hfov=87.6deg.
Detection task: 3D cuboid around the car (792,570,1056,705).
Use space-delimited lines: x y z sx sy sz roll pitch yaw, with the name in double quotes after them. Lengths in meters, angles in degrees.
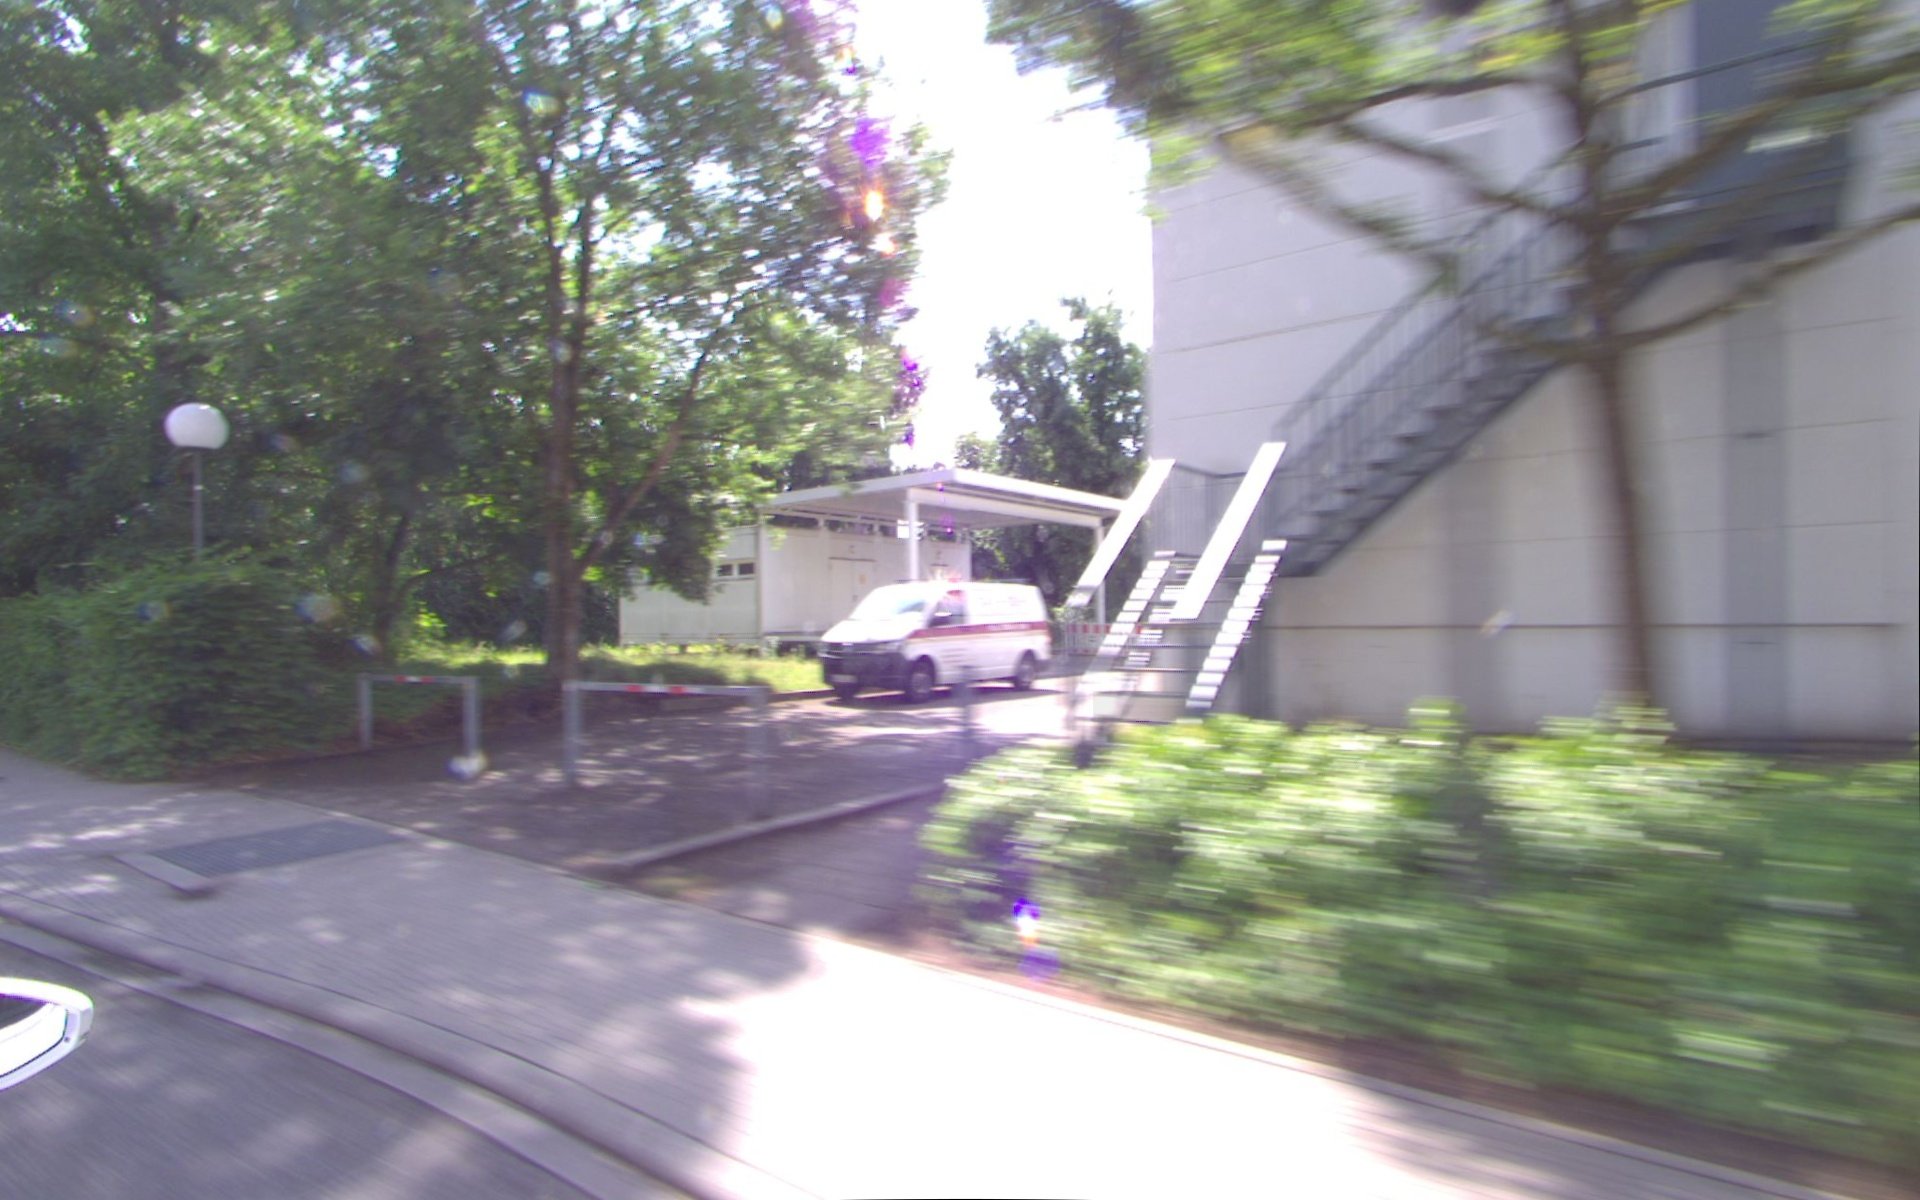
-0.466 0.601 17.640 2.036 2.040 4.806 -1 -1 38 "car"
